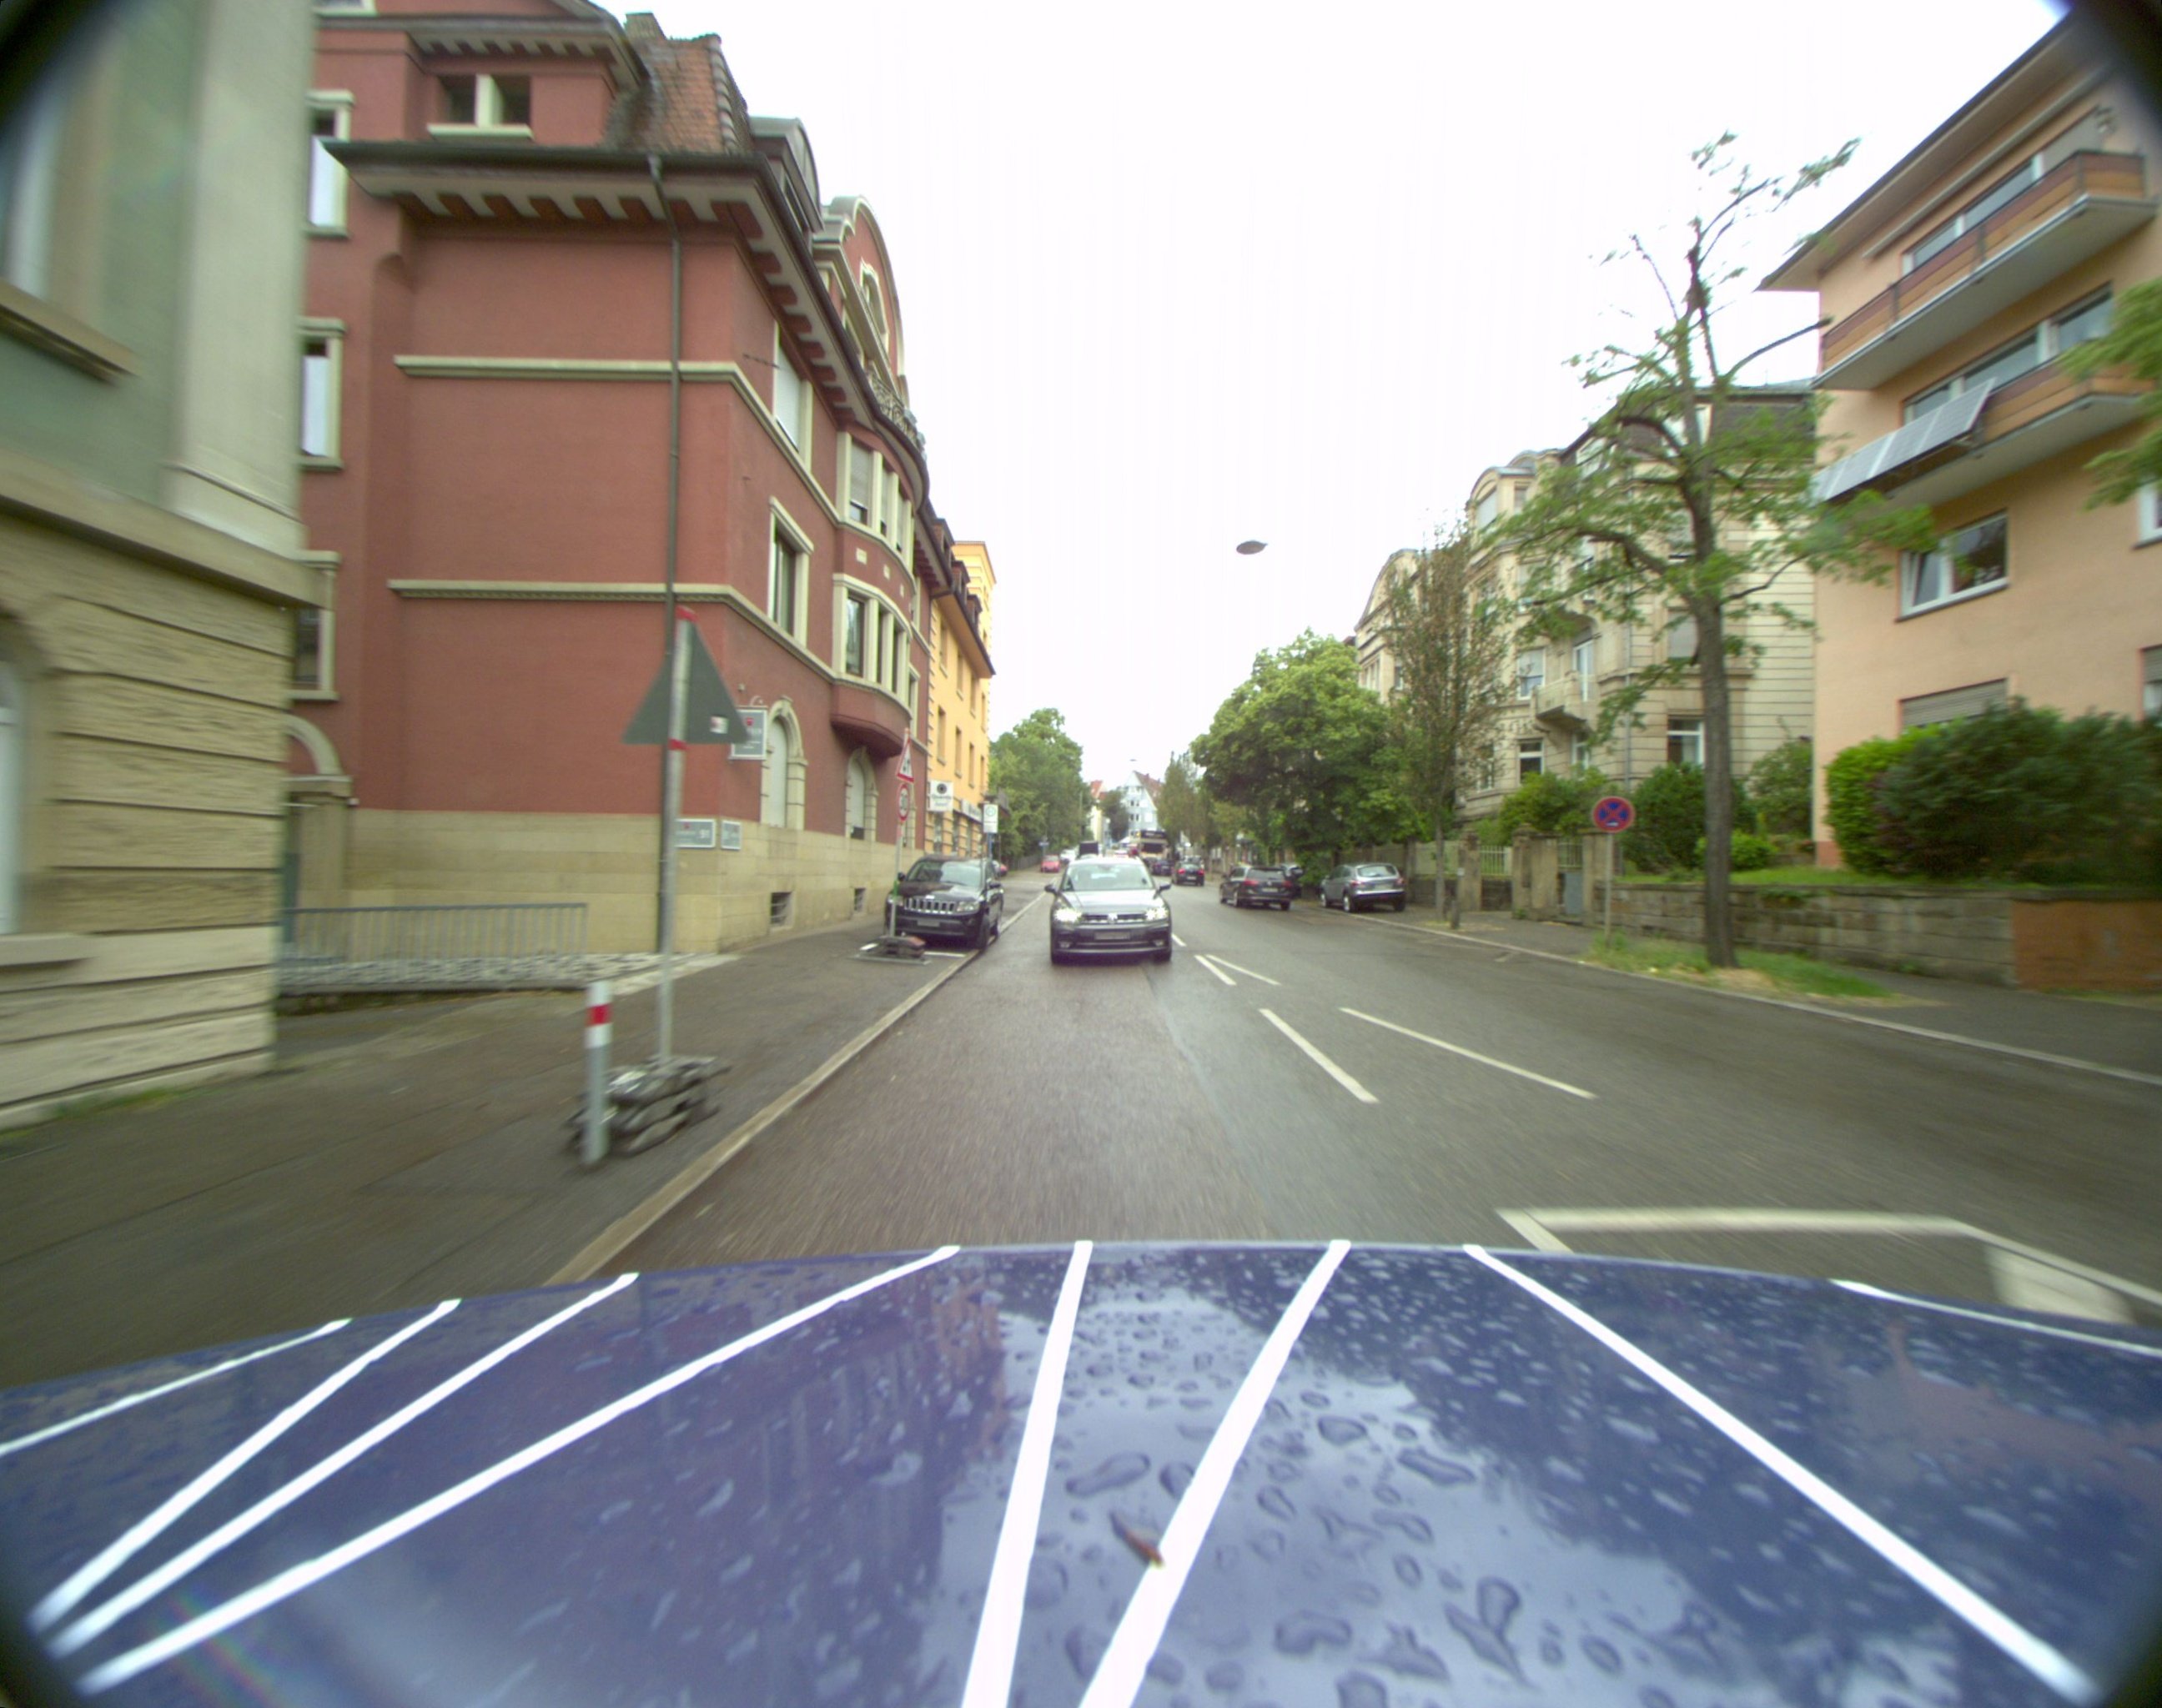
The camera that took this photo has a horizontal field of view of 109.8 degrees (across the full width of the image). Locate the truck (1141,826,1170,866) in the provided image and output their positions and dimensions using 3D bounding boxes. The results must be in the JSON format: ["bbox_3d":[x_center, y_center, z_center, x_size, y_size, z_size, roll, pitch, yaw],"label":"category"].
[{"bbox_3d":[7.758,-0.855,79.984,2.653,3.832,9.309,2,1,4],"label":"truck"}]

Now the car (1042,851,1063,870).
[{"bbox_3d":[-2.496,0.571,66.854,1.613,1.493,3.957,2,1,0],"label":"car"}]

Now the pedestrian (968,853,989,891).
[{"bbox_3d":[-4.360,0.759,32.351,0.769,1.580,0.711,0,2,-18],"label":"pedestrian"}]

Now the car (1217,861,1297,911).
[{"bbox_3d":[6.022,1.028,26.505,1.820,1.508,4.549,2,0,1],"label":"car"}]

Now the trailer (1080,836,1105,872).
[{"bbox_3d":[0.993,-0.009,66.206,1.966,3.024,2.365,-1,1,5],"label":"trailer"}]

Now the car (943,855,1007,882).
[{"bbox_3d":[-6.938,0.945,49.971,1.850,1.461,4.116,-2,3,33],"label":"car"}]

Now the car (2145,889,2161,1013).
[{"bbox_3d":[13.618,1.067,7.395,3.997,1.319,1.837,1,0,-1],"label":"car"}]

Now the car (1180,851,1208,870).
[{"bbox_3d":[10.084,0.566,67.877,1.746,1.550,4.300,-1,1,-1],"label":"car"}]

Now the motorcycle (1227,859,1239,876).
[{"bbox_3d":[11.654,1.055,58.402,0.657,1.230,1.763,1,1,4],"label":"motorcycle"}]

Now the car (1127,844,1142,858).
[{"bbox_3d":[7.139,-0.400,101.332,1.655,1.698,4.114,3,2,7],"label":"car"}]

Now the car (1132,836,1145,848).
[{"bbox_3d":[8.463,-1.788,111.055,1.655,1.698,4.114,3,2,7],"label":"car"}]

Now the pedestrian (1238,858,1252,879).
[{"bbox_3d":[11.306,1.023,52.416,0.768,1.424,0.649,1,2,3],"label":"pedestrian"}]

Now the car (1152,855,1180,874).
[{"bbox_3d":[7.023,0.878,63.274,1.776,1.459,4.748,2,0,0],"label":"car"}]

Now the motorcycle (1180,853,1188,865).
[{"bbox_3d":[10.869,0.496,80.365,0.657,1.228,1.982,1,1,4],"label":"motorcycle"}]

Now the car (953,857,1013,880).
[{"bbox_3d":[-7.329,1.086,57.073,4.280,1.489,2.002,-3,-1,-4],"label":"car"}]

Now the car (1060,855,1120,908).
[{"bbox_3d":[0.419,0.918,27.283,1.925,1.641,4.486,-1,1,3],"label":"car"}]

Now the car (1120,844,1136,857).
[{"bbox_3d":[5.780,-0.417,92.601,1.715,1.471,4.115,3,1,7],"label":"car"}]

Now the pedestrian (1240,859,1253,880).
[{"bbox_3d":[11.316,1.044,51.933,0.768,1.424,0.649,1,2,3],"label":"pedestrian"}]

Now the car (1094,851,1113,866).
[{"bbox_3d":[2.526,0.493,85.701,1.924,1.641,4.135,-1,1,4],"label":"car"}]

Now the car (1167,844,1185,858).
[{"bbox_3d":[11.625,-0.415,93.201,2.000,1.587,3.828,-3,1,6],"label":"car"}]

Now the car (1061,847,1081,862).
[{"bbox_3d":[-1.117,0.015,85.945,1.745,1.455,4.884,4,1,4],"label":"car"}]

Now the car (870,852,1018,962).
[{"bbox_3d":[-2.451,0.873,14.836,1.881,1.620,4.696,3,1,1],"label":"car"}]

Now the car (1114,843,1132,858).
[{"bbox_3d":[4.440,-0.400,80.037,1.776,1.509,4.100,1,1,4],"label":"car"}]

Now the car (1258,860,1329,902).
[{"bbox_3d":[9.279,1.134,33.583,1.746,1.550,4.300,-3,1,-2],"label":"car"}]

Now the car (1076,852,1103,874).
[{"bbox_3d":[0.743,0.724,63.793,1.924,1.641,4.135,-1,1,5],"label":"car"}]

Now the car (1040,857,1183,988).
[{"bbox_3d":[0.420,0.907,12.505,1.860,1.641,5.194,0,0,1],"label":"car"}]

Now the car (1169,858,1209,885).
[{"bbox_3d":[6.793,1.077,48.167,1.777,1.509,4.589,-1,1,-1],"label":"car"}]

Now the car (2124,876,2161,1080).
[{"bbox_3d":[9.088,0.975,3.840,1.746,1.550,4.301,-1,1,1],"label":"car"}]

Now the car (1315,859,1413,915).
[{"bbox_3d":[9.315,1.033,25.391,1.746,1.550,4.301,-1,1,1],"label":"car"}]

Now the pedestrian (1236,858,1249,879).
[{"bbox_3d":[11.302,0.998,53.172,0.768,1.424,0.759,1,2,1],"label":"pedestrian"}]
